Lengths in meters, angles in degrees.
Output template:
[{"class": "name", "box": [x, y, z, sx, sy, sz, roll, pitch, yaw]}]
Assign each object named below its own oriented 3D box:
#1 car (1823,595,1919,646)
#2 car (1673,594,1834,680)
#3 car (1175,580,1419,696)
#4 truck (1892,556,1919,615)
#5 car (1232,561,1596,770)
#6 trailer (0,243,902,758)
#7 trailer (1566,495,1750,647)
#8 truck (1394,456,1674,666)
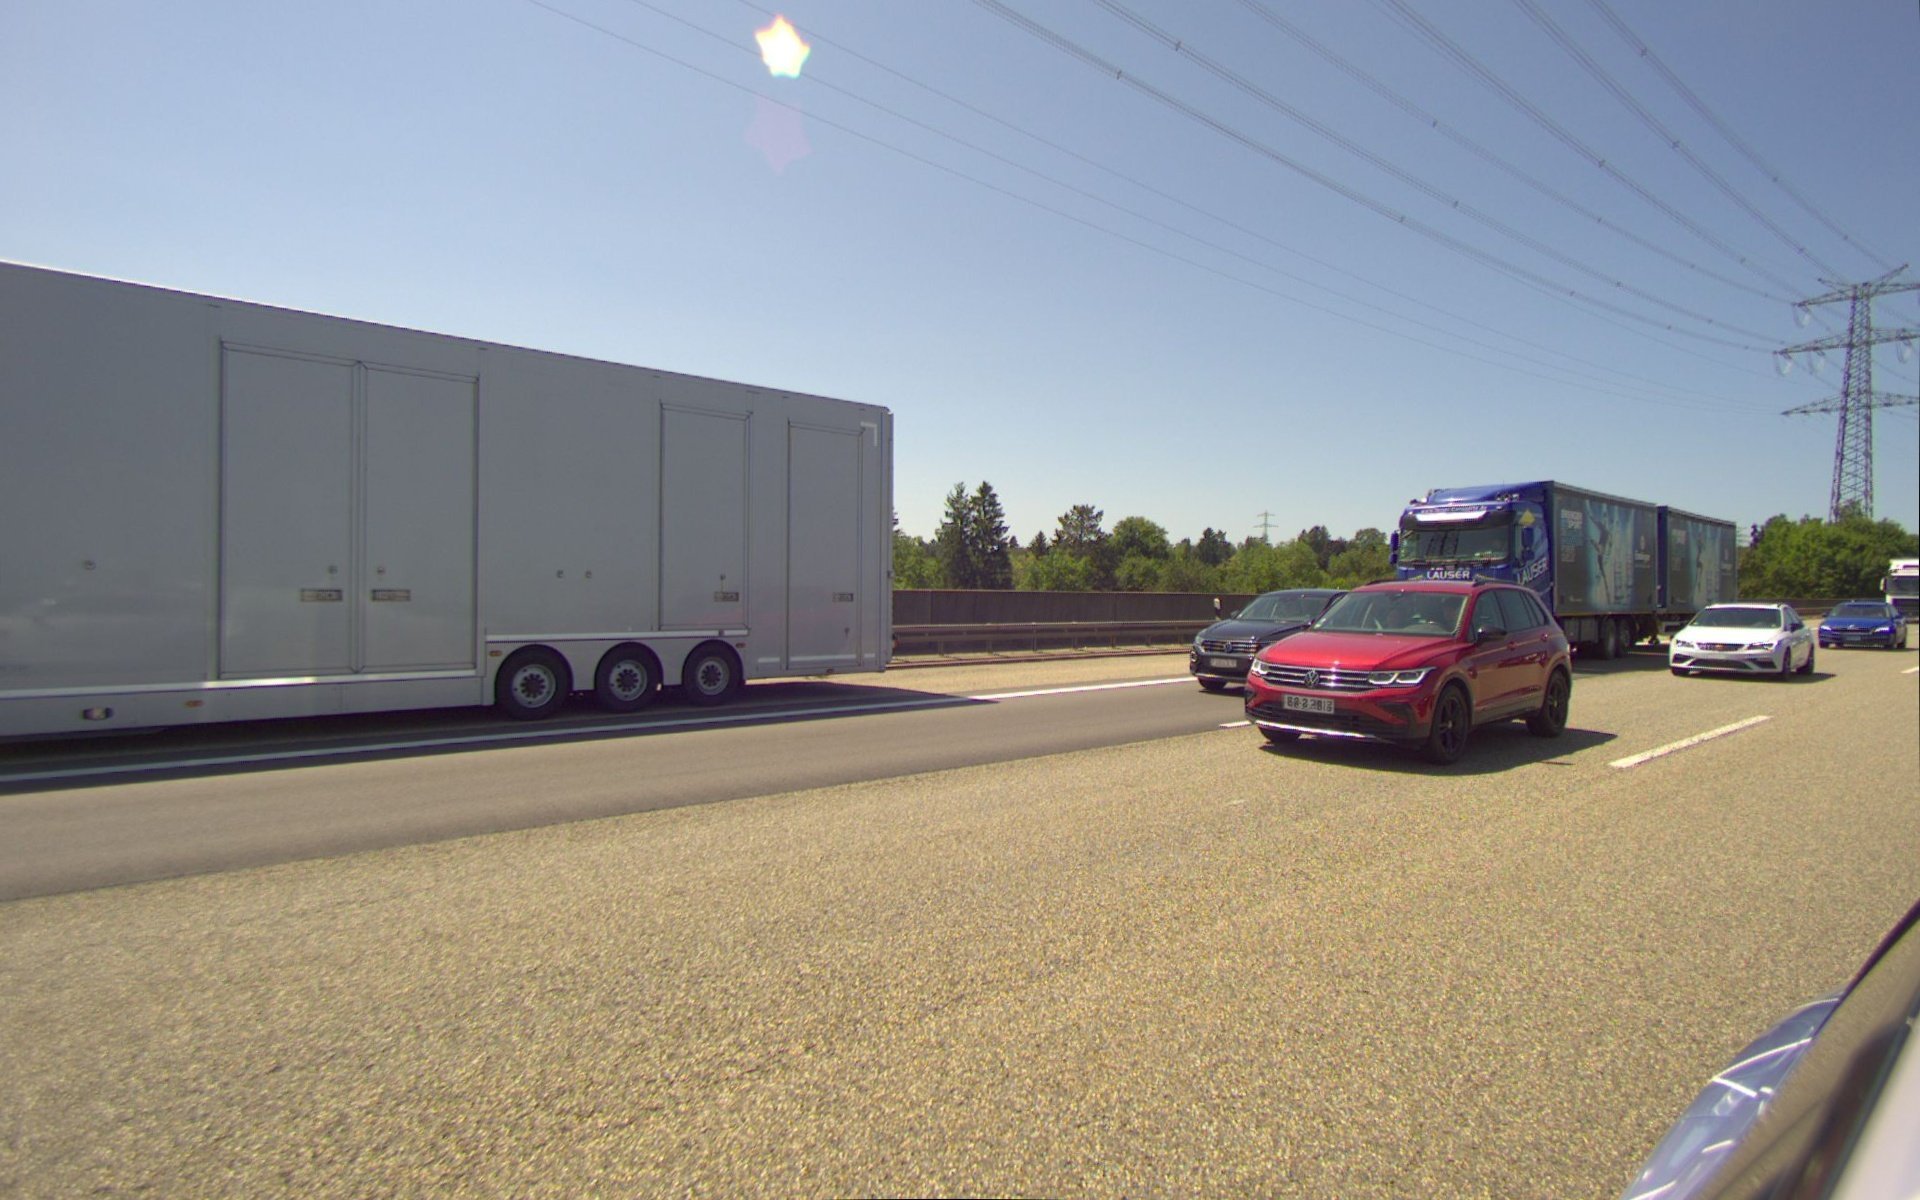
[{"class": "car", "box": [28.526, 0.590, 31.589, 4.135, 1.463, 1.739, 0, 1, -40]}, {"class": "car", "box": [15.534, 0.636, 19.741, 4.003, 1.508, 1.841, 0, 0, -42]}, {"class": "car", "box": [5.239, 0.499, 15.488, 4.034, 1.546, 1.739, 0, 0, -41]}, {"class": "truck", "box": [62.951, -0.927, 65.304, 10.776, 3.604, 2.983, 0, 0, -41]}, {"class": "car", "box": [4.695, 0.511, 10.186, 4.151, 1.683, 1.778, 0, 1, -41]}, {"class": "trailer", "box": [-6.705, -0.818, 10.862, 13.534, 4.172, 2.539, 0, 0, -42]}, {"class": "trailer", "box": [21.061, -0.761, 30.310, 8.331, 3.995, 2.570, 0, 0, -41]}, {"class": "truck", "box": [14.051, -0.810, 24.182, 10.264, 4.117, 2.527, 0, 1, -41]}]
